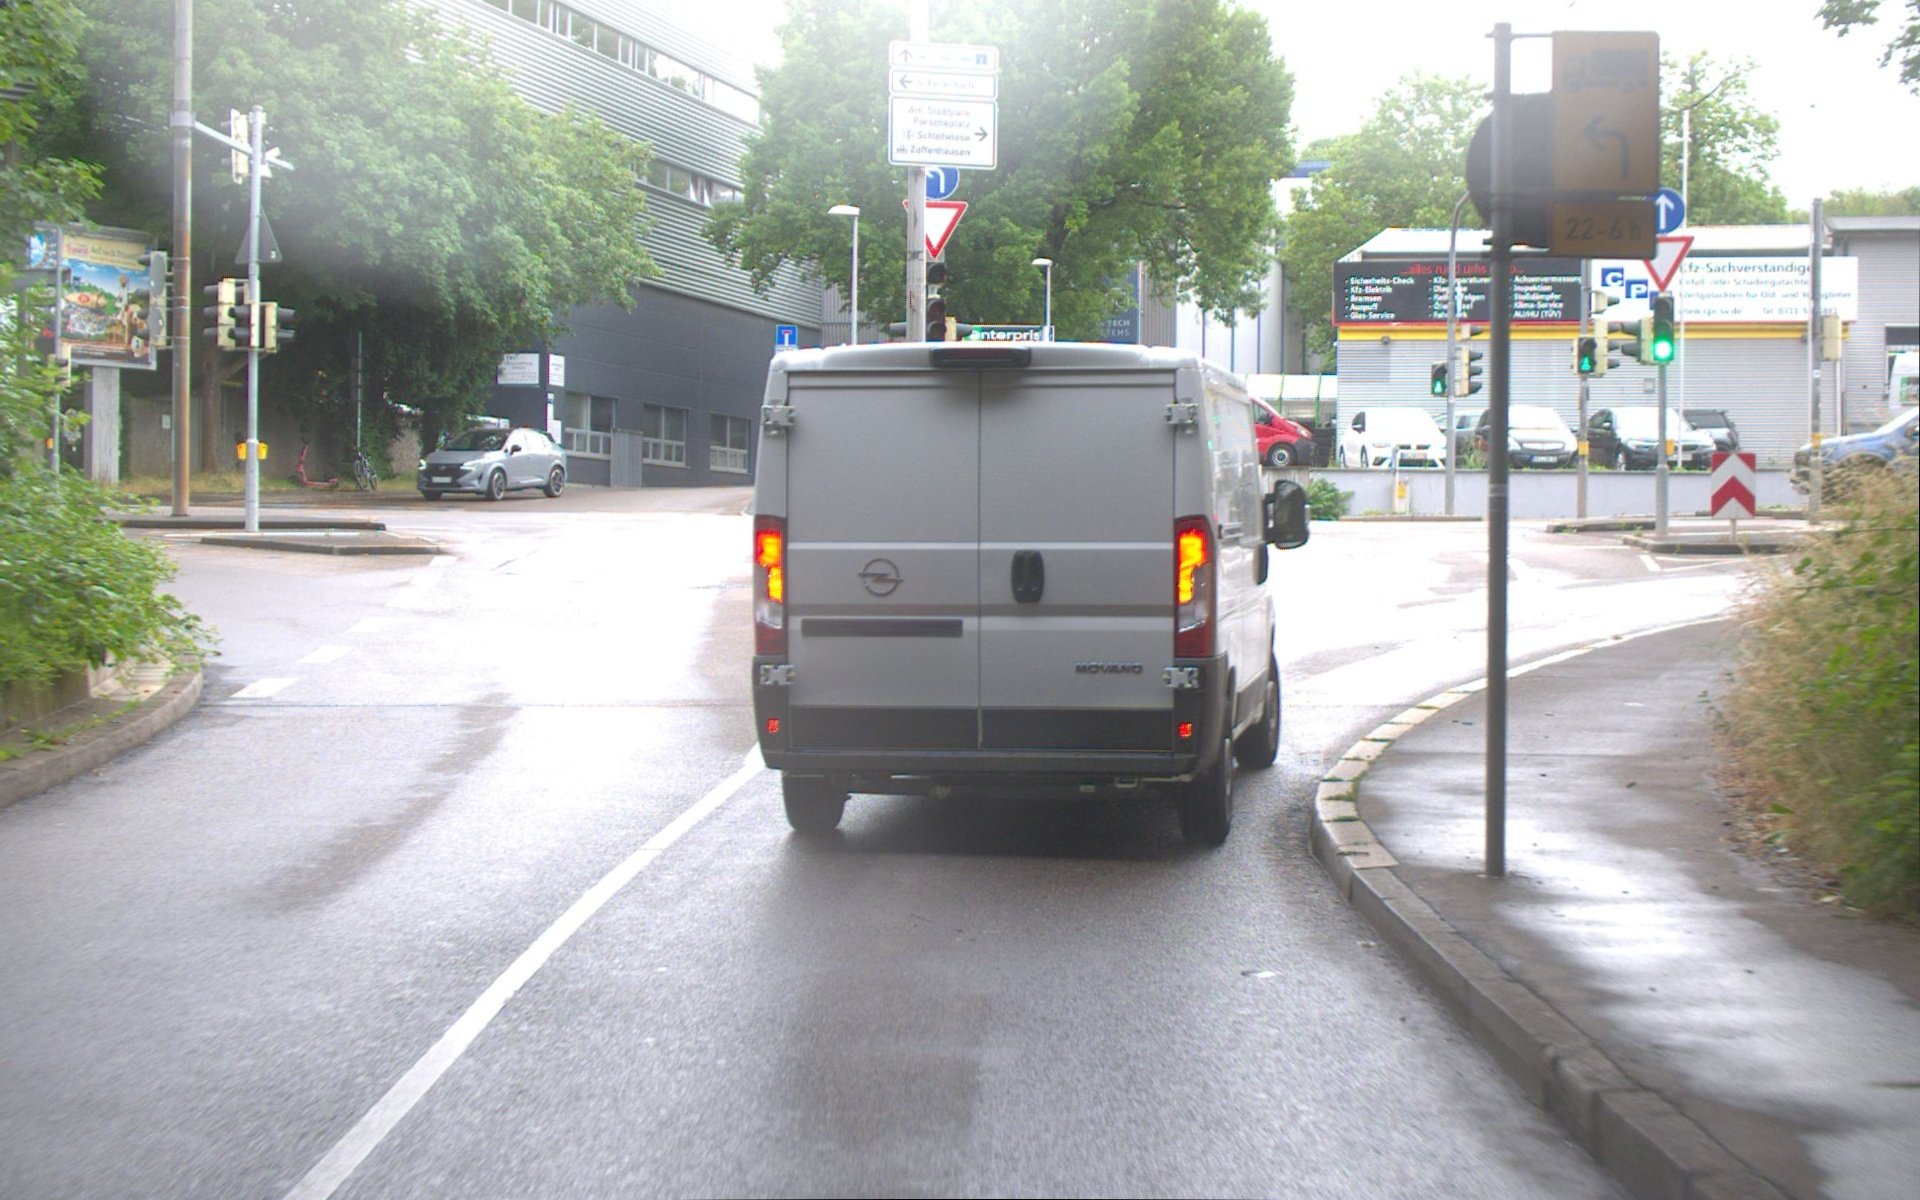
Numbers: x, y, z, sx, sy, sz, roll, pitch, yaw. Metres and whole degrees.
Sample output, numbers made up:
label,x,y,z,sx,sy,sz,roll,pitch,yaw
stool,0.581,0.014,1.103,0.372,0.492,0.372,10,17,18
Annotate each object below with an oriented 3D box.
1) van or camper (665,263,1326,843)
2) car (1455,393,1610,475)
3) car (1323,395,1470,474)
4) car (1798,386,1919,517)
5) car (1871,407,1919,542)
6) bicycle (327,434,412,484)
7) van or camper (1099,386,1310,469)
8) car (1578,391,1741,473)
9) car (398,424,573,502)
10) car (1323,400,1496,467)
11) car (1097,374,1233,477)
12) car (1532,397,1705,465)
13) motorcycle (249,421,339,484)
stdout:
label,x,y,z,sx,sy,sz,roll,pitch,yaw
van or camper,0.390,-0.298,16.933,2.699,2.408,4.902,1,2,7
car,11.416,-3.300,68.795,1.993,1.534,4.001,1,1,-7
car,8.766,-3.319,69.386,1.993,1.481,4.001,1,1,-7
car,15.439,-2.320,54.370,4.081,2.007,1.999,1,1,9
car,12.067,-1.355,37.650,4.090,1.433,1.842,-1,1,-35
bicycle,-13.825,-3.300,80.580,0.928,1.124,2.288,1,2,20
van or camper,6.282,-4.417,88.068,5.309,2.007,2.078,1,1,6
car,13.923,-3.329,68.659,1.993,1.534,4.001,1,1,-7
car,-10.675,-3.071,77.566,1.996,1.682,3.994,1,2,26
car,10.858,-4.005,82.949,3.989,1.534,1.999,1,1,11
car,4.073,-3.465,68.944,1.993,1.941,4.001,1,1,-7
car,15.719,-4.033,82.100,3.989,1.534,1.999,1,1,11
motorcycle,-15.594,-3.453,80.556,1.987,1.417,0.659,1,1,-4
